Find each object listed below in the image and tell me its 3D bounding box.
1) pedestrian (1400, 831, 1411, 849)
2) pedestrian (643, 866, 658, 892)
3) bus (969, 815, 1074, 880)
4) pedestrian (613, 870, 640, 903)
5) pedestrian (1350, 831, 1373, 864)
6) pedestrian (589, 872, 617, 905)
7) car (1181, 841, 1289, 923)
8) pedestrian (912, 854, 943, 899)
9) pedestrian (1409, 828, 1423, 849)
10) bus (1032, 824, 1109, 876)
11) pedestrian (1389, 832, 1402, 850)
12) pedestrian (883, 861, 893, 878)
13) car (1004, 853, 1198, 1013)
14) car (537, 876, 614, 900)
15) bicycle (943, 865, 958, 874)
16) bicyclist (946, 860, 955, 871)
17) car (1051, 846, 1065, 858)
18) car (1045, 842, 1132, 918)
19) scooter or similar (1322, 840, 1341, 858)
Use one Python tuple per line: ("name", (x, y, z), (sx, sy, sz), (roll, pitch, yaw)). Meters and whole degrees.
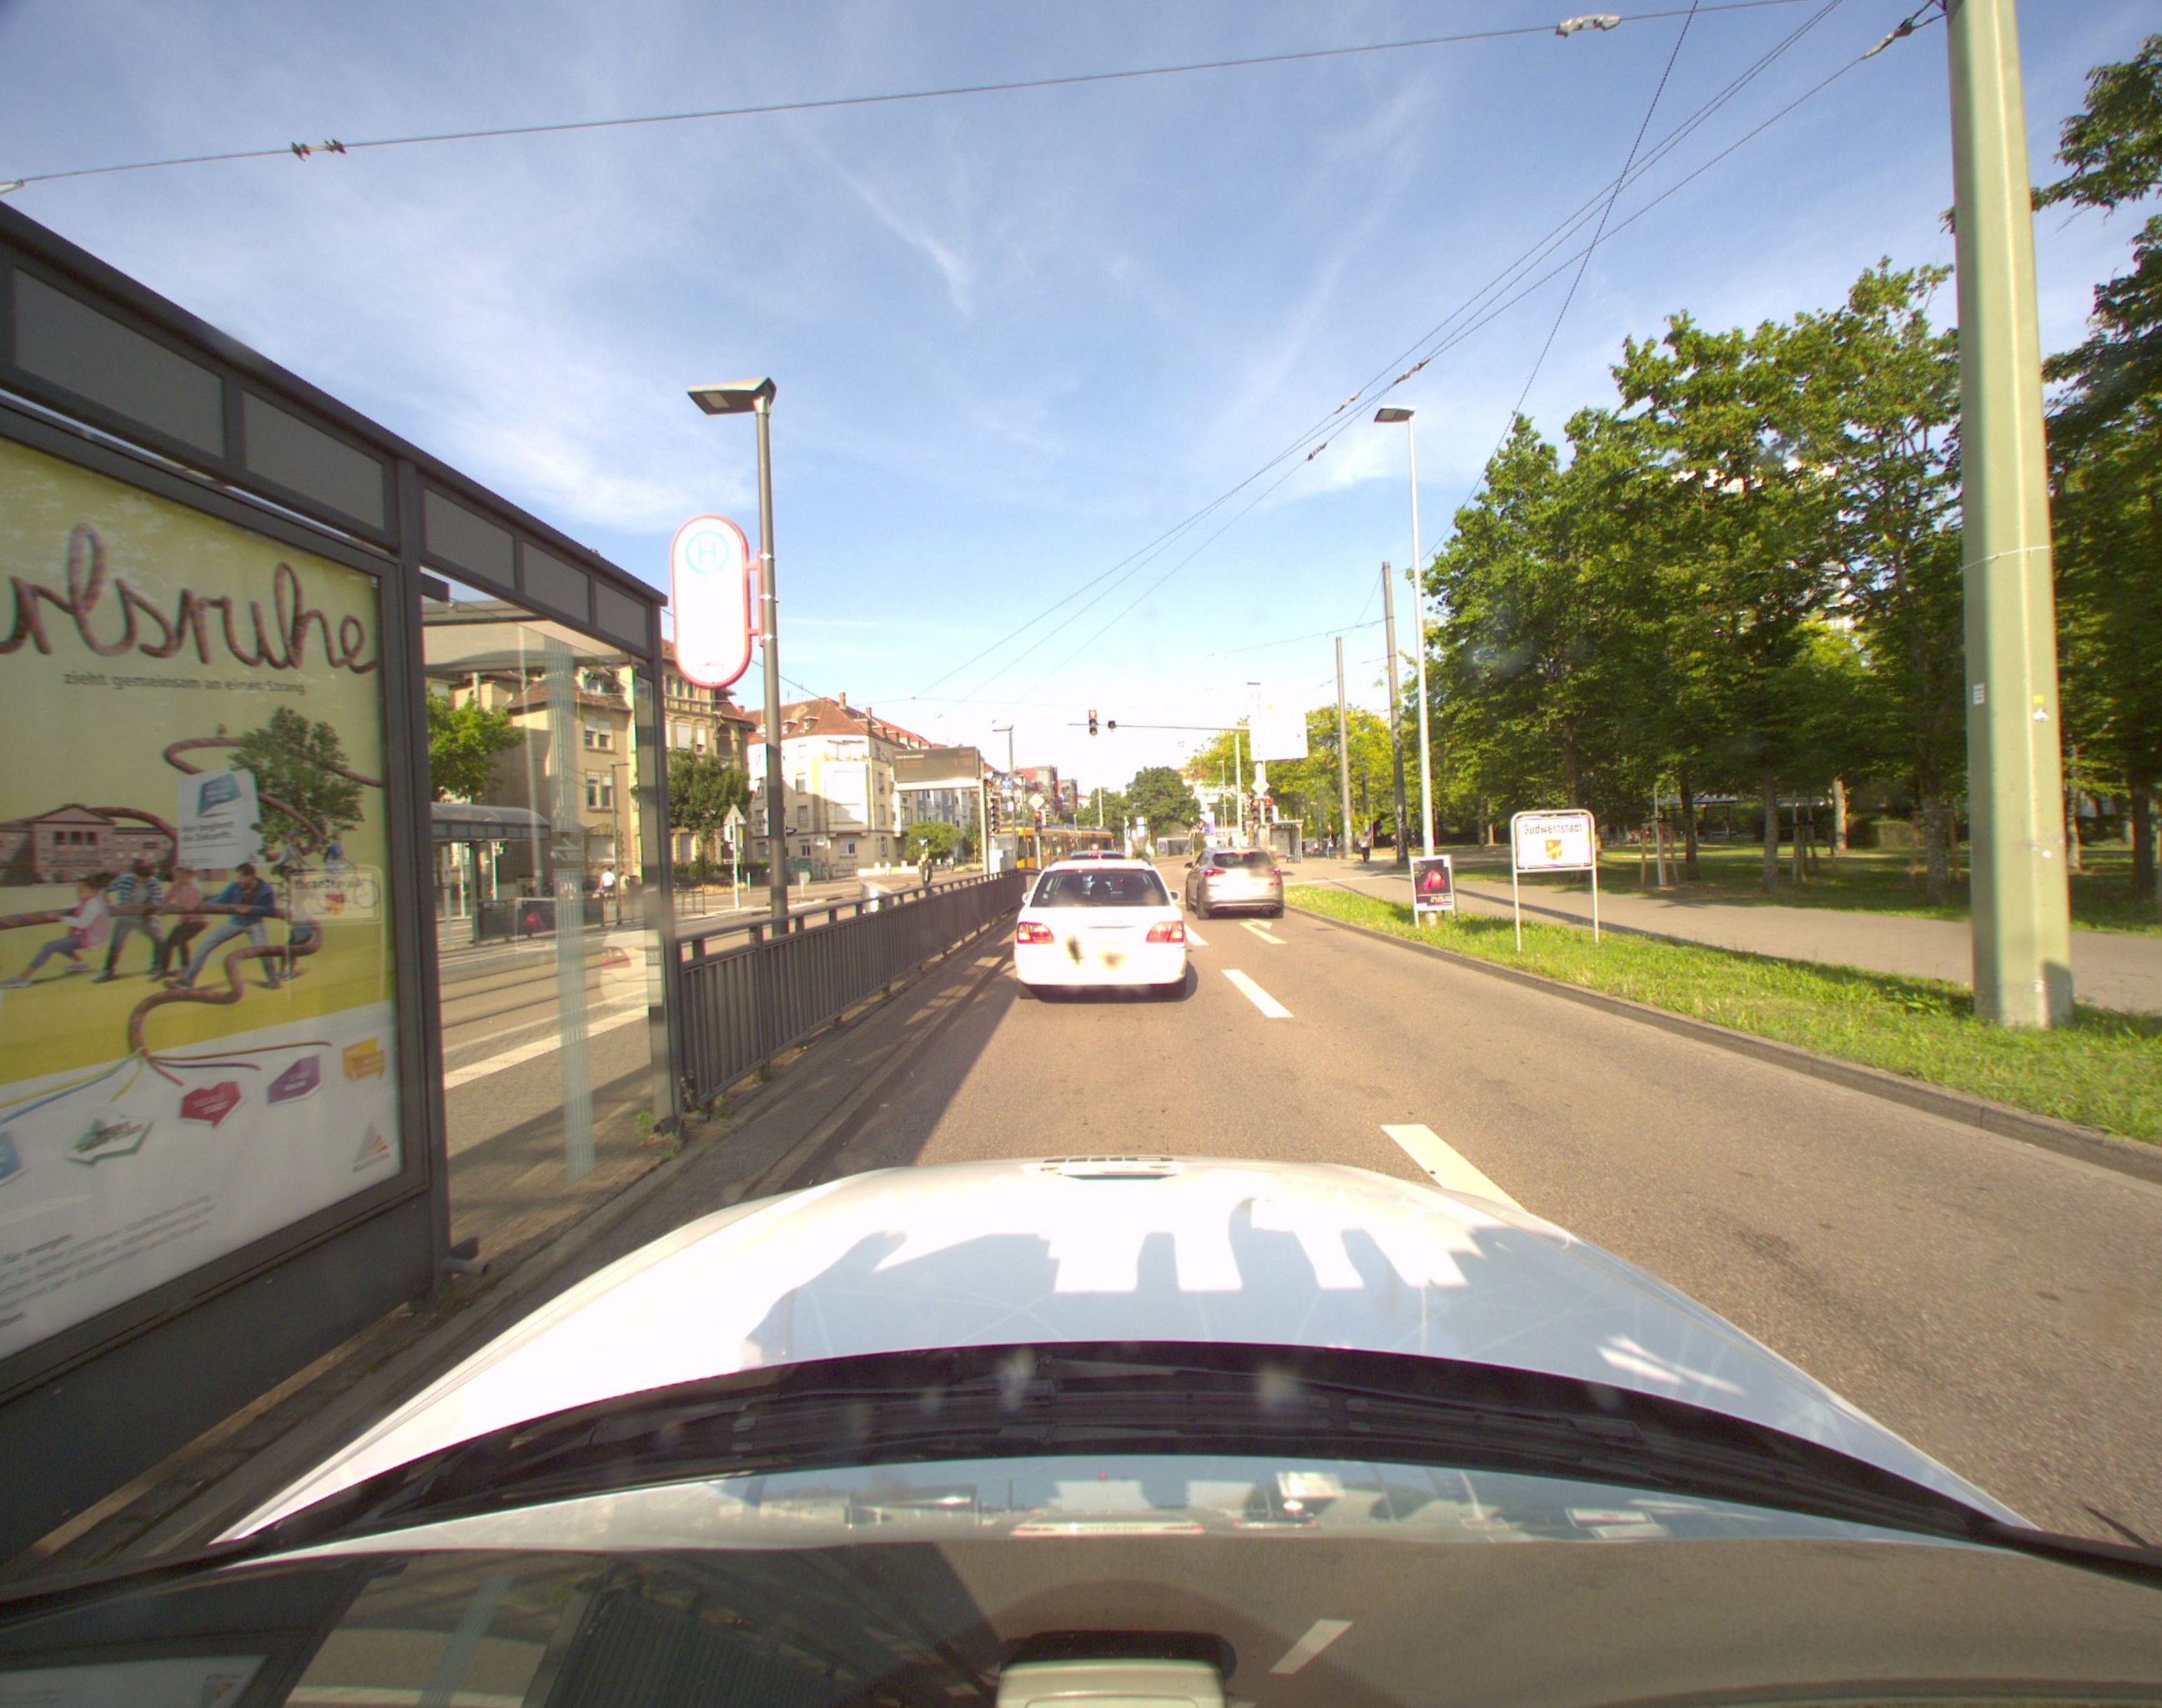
("pedestrian", (27.698, -1.171, 69.497), (0.805, 1.487, 0.705), (-3, 0, 26))
("pedestrian", (-25.460, 1.459, 48.178), (0.434, 1.501, 0.551), (-3, 0, 16))
("bus", (-3.388, -0.296, 51.553), (3.087, 3.606, 12.418), (-1, -1, 13))
("pedestrian", (-22.448, 1.619, 40.216), (0.822, 1.552, 0.786), (-3, 0, 23))
("pedestrian", (14.625, -0.339, 42.455), (0.758, 1.636, 0.800), (-3, 0, -38))
("pedestrian", (-23.515, 1.682, 40.055), (0.822, 1.552, 0.786), (-3, 0, 23))
("car", (3.505, 0.595, 19.162), (1.878, 1.651, 3.649), (-3, 0, 2))
("pedestrian", (-5.778, 0.857, 30.711), (0.798, 1.645, 0.748), (-3, 0, -43))
("pedestrian", (29.043, -1.342, 70.629), (0.798, 1.785, 0.838), (-3, 0, -3))
("bus", (-0.558, -0.223, 63.828), (3.087, 3.606, 12.635), (-1, -1, 13))
("pedestrian", (27.180, -1.108, 70.411), (0.820, 1.487, 0.692), (-3, 0, -40))
("pedestrian", (-17.649, 1.395, 74.451), (0.627, 1.541, 0.711), (-3, 0, 1))
("car", (0.243, 0.736, 9.471), (1.789, 1.470, 3.649), (-1, 0, 2))
("car", (-29.425, 1.941, 47.398), (4.066, 1.310, 1.774), (-1, -1, 23))
("bicycle", (-12.560, 1.478, 78.335), (0.521, 0.834, 1.696), (-3, 0, 26))
("bicyclist", (-12.540, 1.079, 78.400), (0.508, 1.044, 0.684), (-3, 0, 28))
("car", (-3.929, -0.311, 137.287), (2.067, 2.014, 4.165), (-1, -1, 2))
("car", (0.221, 0.563, 19.676), (1.878, 1.651, 3.649), (0, 0, 2))
("scooter or similar", (16.131, -0.309, 52.432), (0.421, 1.117, 1.322), (-3, 0, -18))
